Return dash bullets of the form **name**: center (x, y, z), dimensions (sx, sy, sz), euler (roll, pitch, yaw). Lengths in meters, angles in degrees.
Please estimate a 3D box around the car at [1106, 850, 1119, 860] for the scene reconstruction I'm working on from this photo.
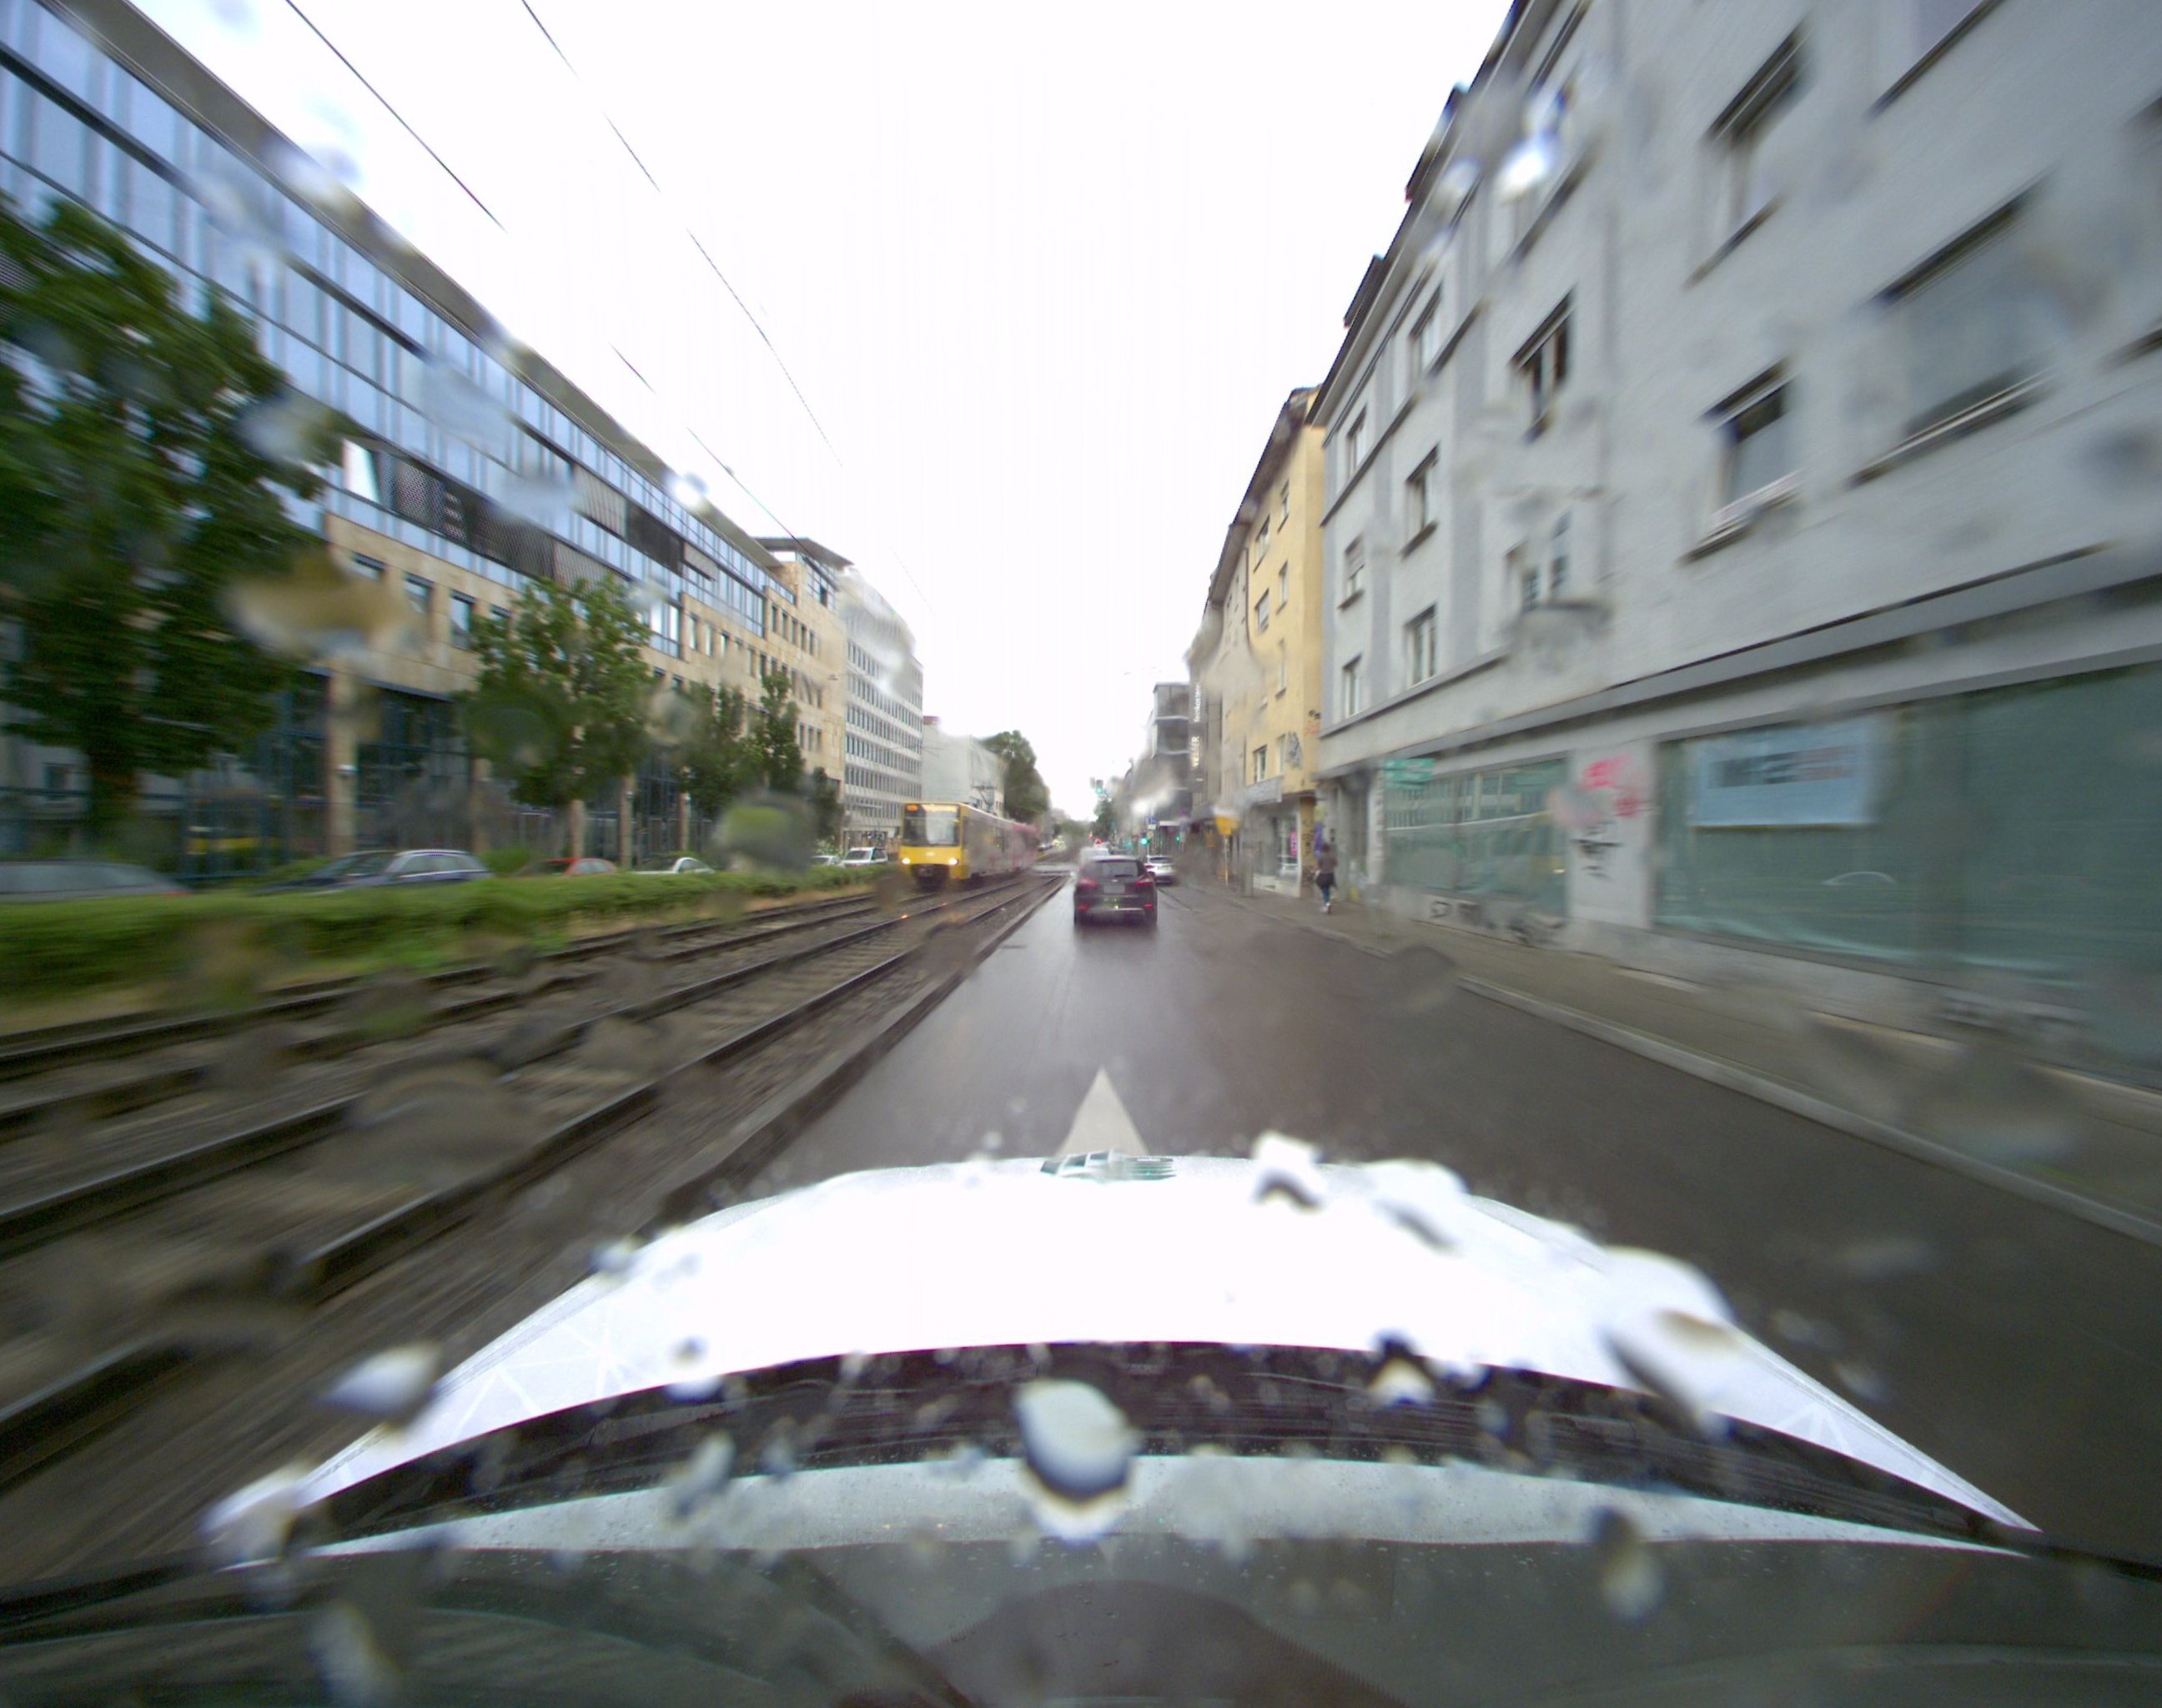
- **car**: center (5.225, 0.130, 135.299), dimensions (1.986, 1.594, 4.573), euler (0, 0, 2)

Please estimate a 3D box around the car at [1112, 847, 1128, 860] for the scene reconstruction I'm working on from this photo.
- **car**: center (4.913, -0.056, 103.786), dimensions (1.986, 1.594, 4.273), euler (0, 0, 2)

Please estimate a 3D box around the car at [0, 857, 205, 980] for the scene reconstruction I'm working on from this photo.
- **car**: center (-14.470, 0.823, 10.328), dimensions (1.643, 1.540, 4.623), euler (0, 0, 2)

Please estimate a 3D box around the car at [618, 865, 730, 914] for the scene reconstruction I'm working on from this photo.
- **car**: center (-13.932, 1.156, 28.153), dimensions (1.643, 1.498, 4.194), euler (0, 0, 2)

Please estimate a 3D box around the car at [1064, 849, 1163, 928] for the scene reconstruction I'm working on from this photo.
- **car**: center (0.723, 0.708, 18.670), dimensions (1.986, 1.594, 4.273), euler (0, 0, 2)

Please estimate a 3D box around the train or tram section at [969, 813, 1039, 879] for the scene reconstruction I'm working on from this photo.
- **train or tram section**: center (-5.217, -0.452, 59.233), dimensions (2.891, 4.050, 18.771), euler (0, 0, 1)

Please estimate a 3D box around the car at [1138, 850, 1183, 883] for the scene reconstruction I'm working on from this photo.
- **car**: center (3.993, 0.593, 41.605), dimensions (2.017, 1.594, 4.622), euler (0, 0, 2)

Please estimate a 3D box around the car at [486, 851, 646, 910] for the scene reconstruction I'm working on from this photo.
- **car**: center (-14.222, 0.672, 22.819), dimensions (1.643, 1.498, 4.294), euler (0, 0, 2)

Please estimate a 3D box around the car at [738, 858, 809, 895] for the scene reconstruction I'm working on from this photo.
- **car**: center (-14.172, 1.004, 37.761), dimensions (1.684, 1.486, 4.294), euler (1, 1, -1)

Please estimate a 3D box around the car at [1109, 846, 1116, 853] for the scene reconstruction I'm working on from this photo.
- **car**: center (7.637, -1.154, 198.511), dimensions (1.733, 1.489, 4.001), euler (0, 1, 0)

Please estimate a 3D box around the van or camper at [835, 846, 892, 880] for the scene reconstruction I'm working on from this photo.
- **van or camper**: center (-13.512, 0.558, 51.012), dimensions (2.009, 1.997, 5.199), euler (1, -1, 1)

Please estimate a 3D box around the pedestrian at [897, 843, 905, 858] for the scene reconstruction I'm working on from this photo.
- **pedestrian**: center (-20.824, -0.350, 94.315), dimensions (0.738, 1.737, 0.889), euler (0, -1, -2)

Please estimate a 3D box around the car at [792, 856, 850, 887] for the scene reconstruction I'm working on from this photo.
- **car**: center (-13.697, 0.897, 43.105), dimensions (1.683, 1.486, 4.255), euler (1, 1, 0)

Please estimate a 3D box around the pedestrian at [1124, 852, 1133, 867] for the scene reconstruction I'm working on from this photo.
- **pedestrian**: center (5.007, 0.592, 85.448), dimensions (0.662, 1.582, 0.774), euler (0, 0, -21)

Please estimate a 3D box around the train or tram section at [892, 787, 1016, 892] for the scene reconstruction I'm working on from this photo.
- **train or tram section**: center (-5.640, -0.498, 40.588), dimensions (2.891, 4.050, 18.415), euler (0, 0, 1)

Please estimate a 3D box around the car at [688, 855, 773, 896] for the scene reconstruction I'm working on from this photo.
- **car**: center (-14.041, 0.810, 32.896), dimensions (1.683, 1.486, 4.000), euler (1, 1, 0)

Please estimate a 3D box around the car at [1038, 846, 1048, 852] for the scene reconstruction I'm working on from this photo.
- **car**: center (-8.758, -1.151, 189.950), dimensions (1.986, 1.519, 4.436), euler (1, 1, 1)

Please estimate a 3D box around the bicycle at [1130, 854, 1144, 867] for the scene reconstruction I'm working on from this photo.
- **bicycle**: center (5.464, 0.654, 79.148), dimensions (0.499, 1.259, 1.941), euler (1, 0, -23)

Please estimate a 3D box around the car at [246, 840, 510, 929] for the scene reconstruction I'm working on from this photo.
- **car**: center (-14.240, 0.551, 16.896), dimensions (1.643, 1.601, 4.294), euler (0, 0, 2)

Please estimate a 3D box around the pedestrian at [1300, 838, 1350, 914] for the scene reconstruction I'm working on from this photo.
- **pedestrian**: center (5.632, 0.497, 18.835), dimensions (0.788, 1.659, 0.721), euler (-6, 0, 0)

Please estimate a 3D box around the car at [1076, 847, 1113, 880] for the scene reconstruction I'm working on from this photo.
- **car**: center (0.808, 0.509, 45.879), dimensions (1.985, 1.816, 4.274), euler (0, 0, 3)

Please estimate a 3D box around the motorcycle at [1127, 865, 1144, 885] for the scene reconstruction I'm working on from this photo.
- **motorcycle**: center (4.090, 1.568, 60.840), dimensions (1.137, 1.461, 0.676), euler (0, 0, -35)
